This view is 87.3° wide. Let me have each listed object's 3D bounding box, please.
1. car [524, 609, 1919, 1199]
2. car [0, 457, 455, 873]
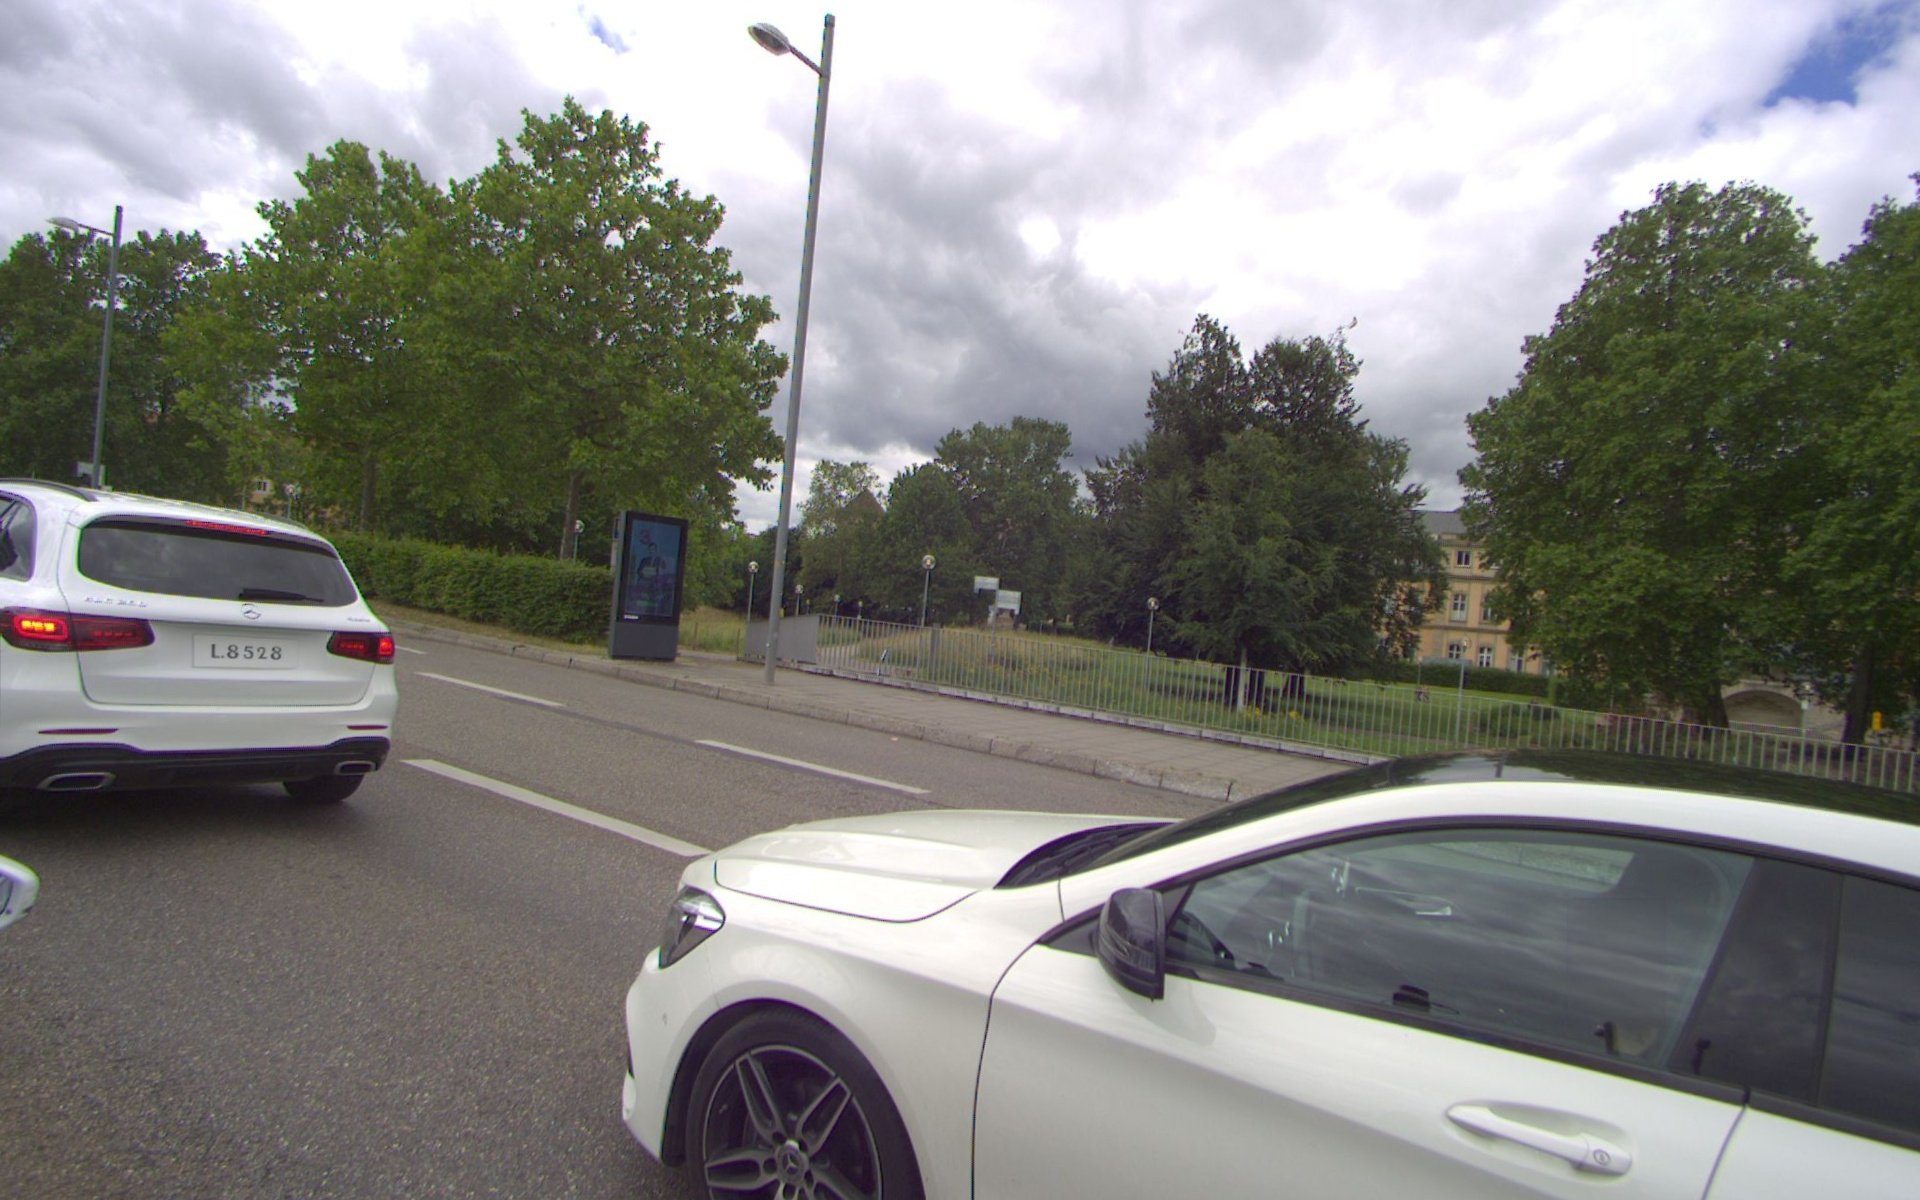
[{"bbox_3d":[1.274,1.014,2.142,4.432,1.440,1.722,6,-2,32],"label":"car"},{"bbox_3d":[-5.145,0.138,5.928,4.307,1.667,1.821,7,-1,33],"label":"car"}]
